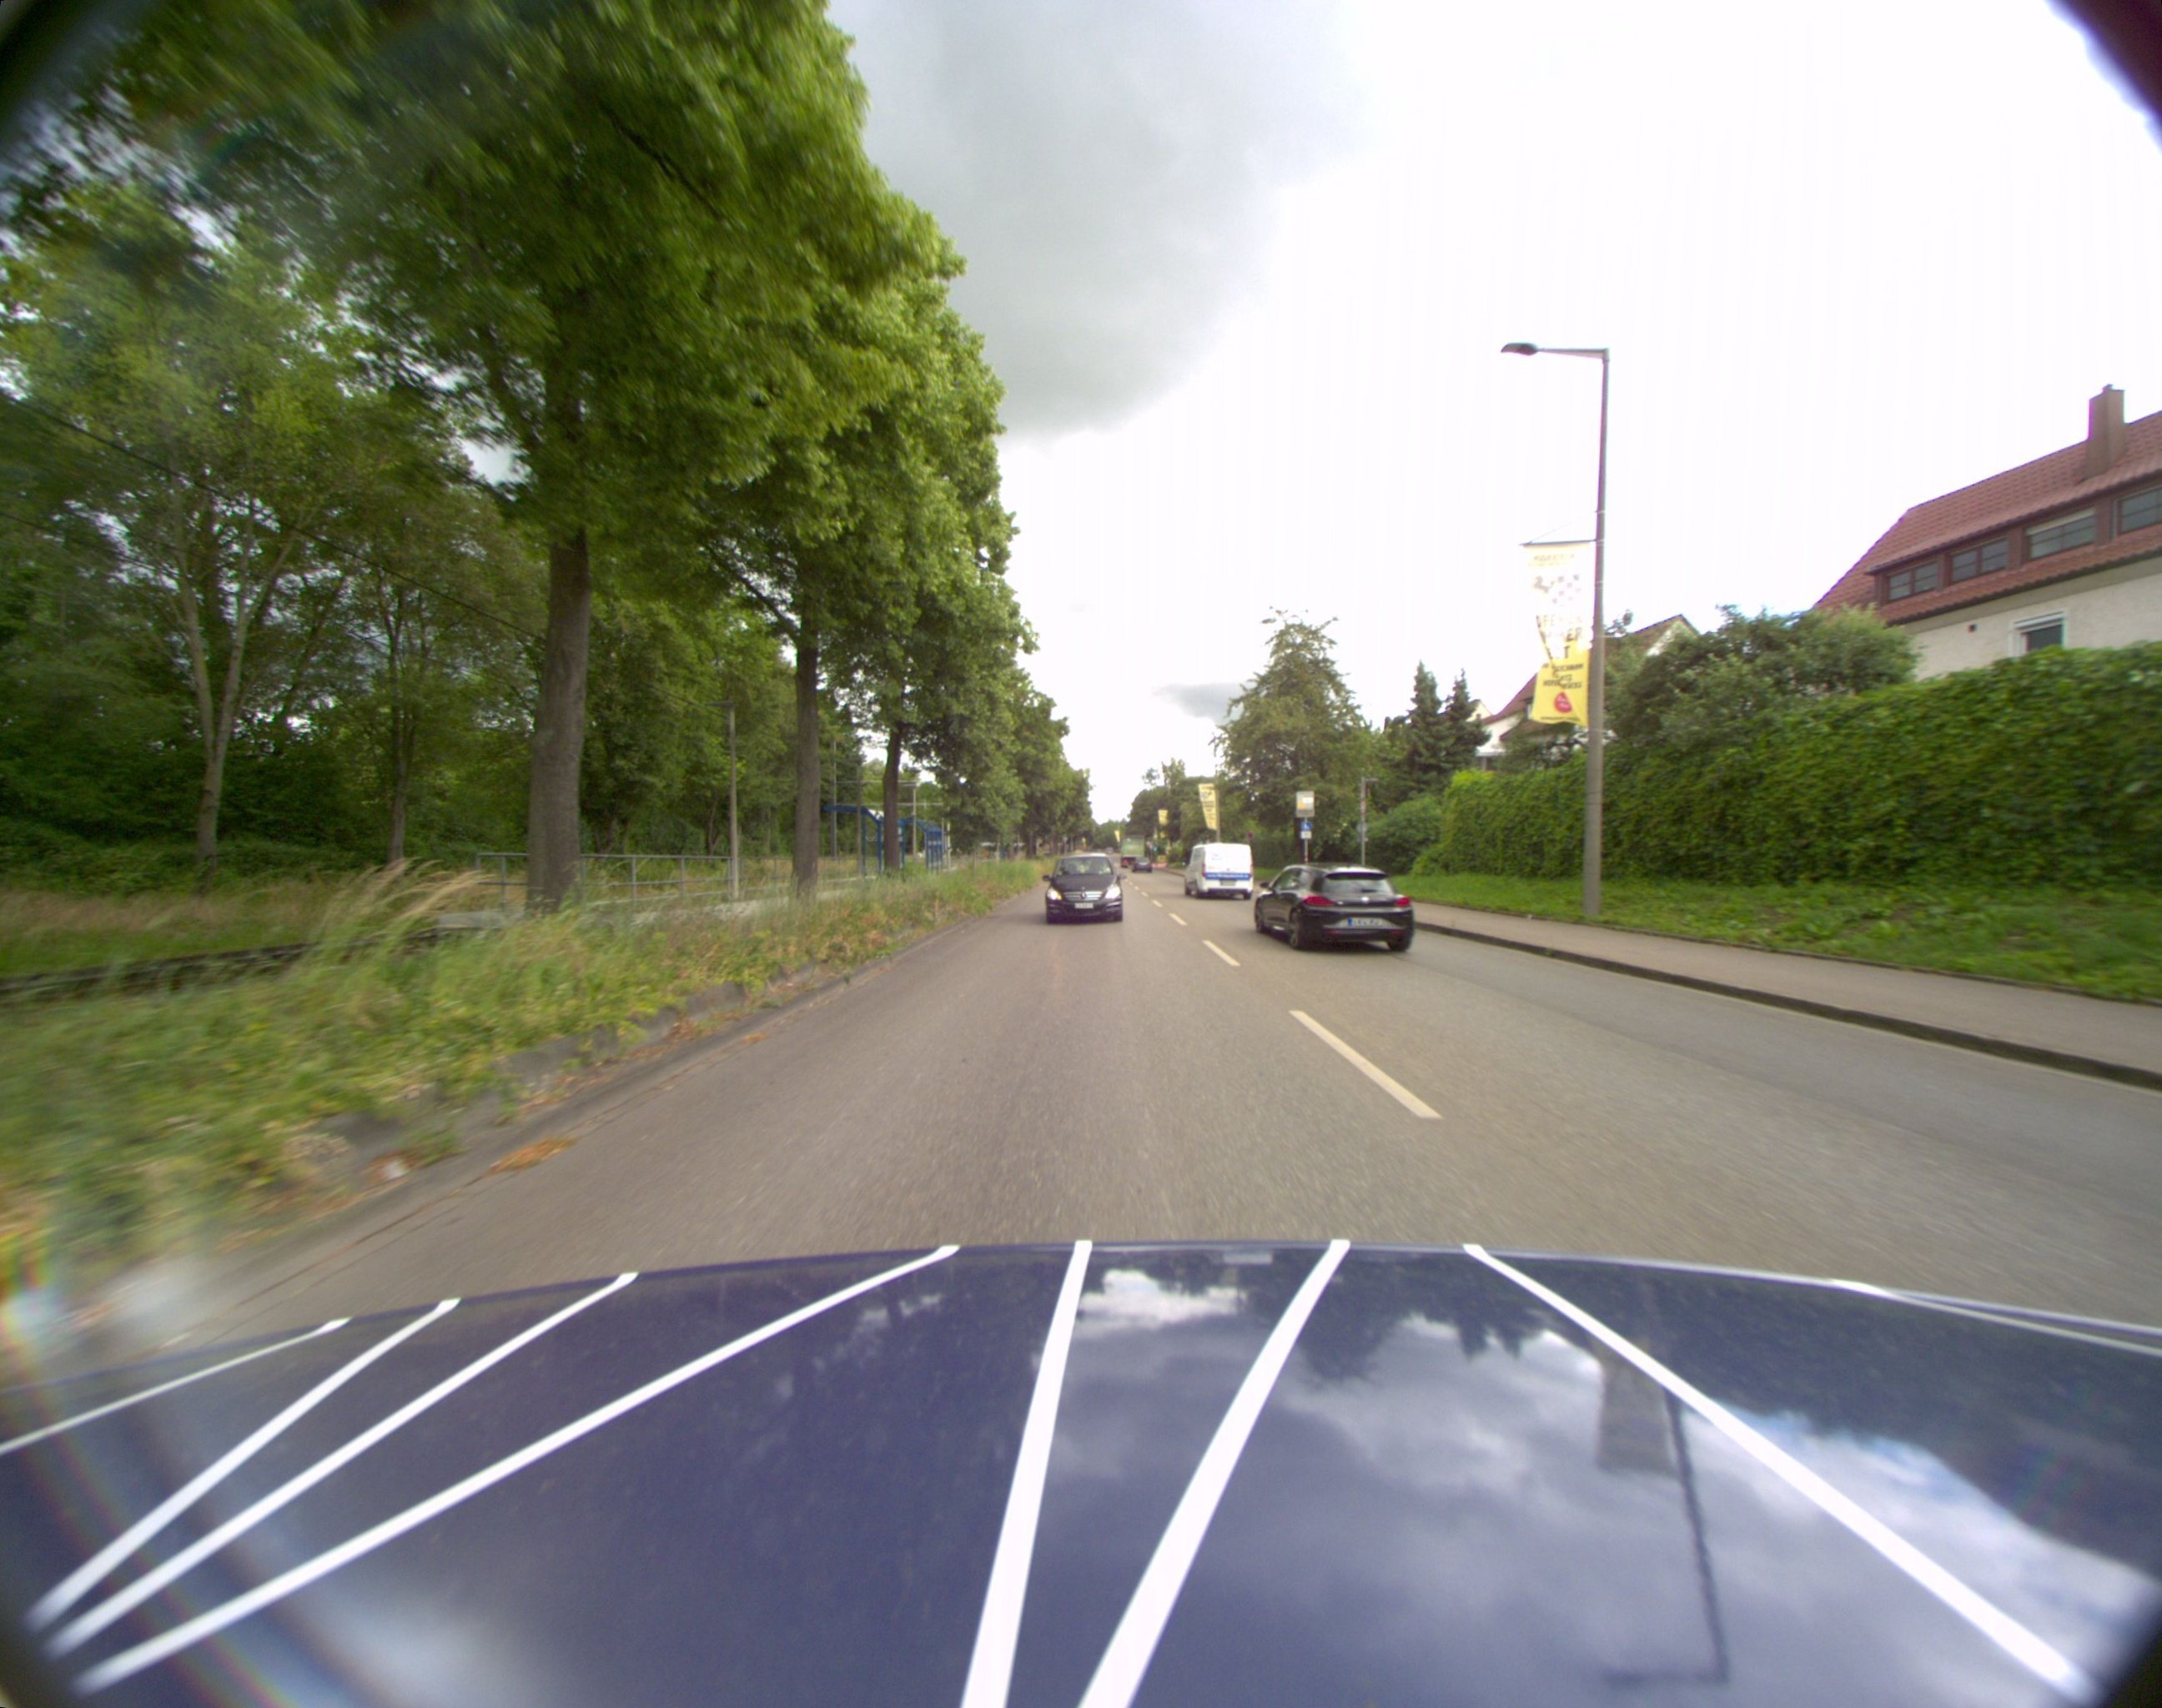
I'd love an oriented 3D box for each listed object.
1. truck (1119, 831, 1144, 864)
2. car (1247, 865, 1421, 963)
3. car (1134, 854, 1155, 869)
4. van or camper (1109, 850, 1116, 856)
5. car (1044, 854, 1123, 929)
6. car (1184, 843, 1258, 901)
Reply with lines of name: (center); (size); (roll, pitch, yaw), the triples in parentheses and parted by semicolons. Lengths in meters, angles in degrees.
truck: (6.493, -0.862, 98.387); (2.556, 4.020, 10.618); (2, 1, 1)
car: (4.212, 0.923, 13.410); (1.655, 1.340, 4.478); (1, 0, 1)
car: (6.032, 0.742, 72.563); (1.737, 1.367, 4.239); (0, 0, 1)
van or camper: (9.696, -0.398, 233.940); (1.917, 1.888, 4.811); (-1, 0, 1)
car: (0.090, 0.835, 18.976); (1.683, 1.565, 4.482); (-2, 0, 1)
car: (5.094, 0.610, 28.338); (1.911, 1.921, 4.911); (1, 0, 1)
